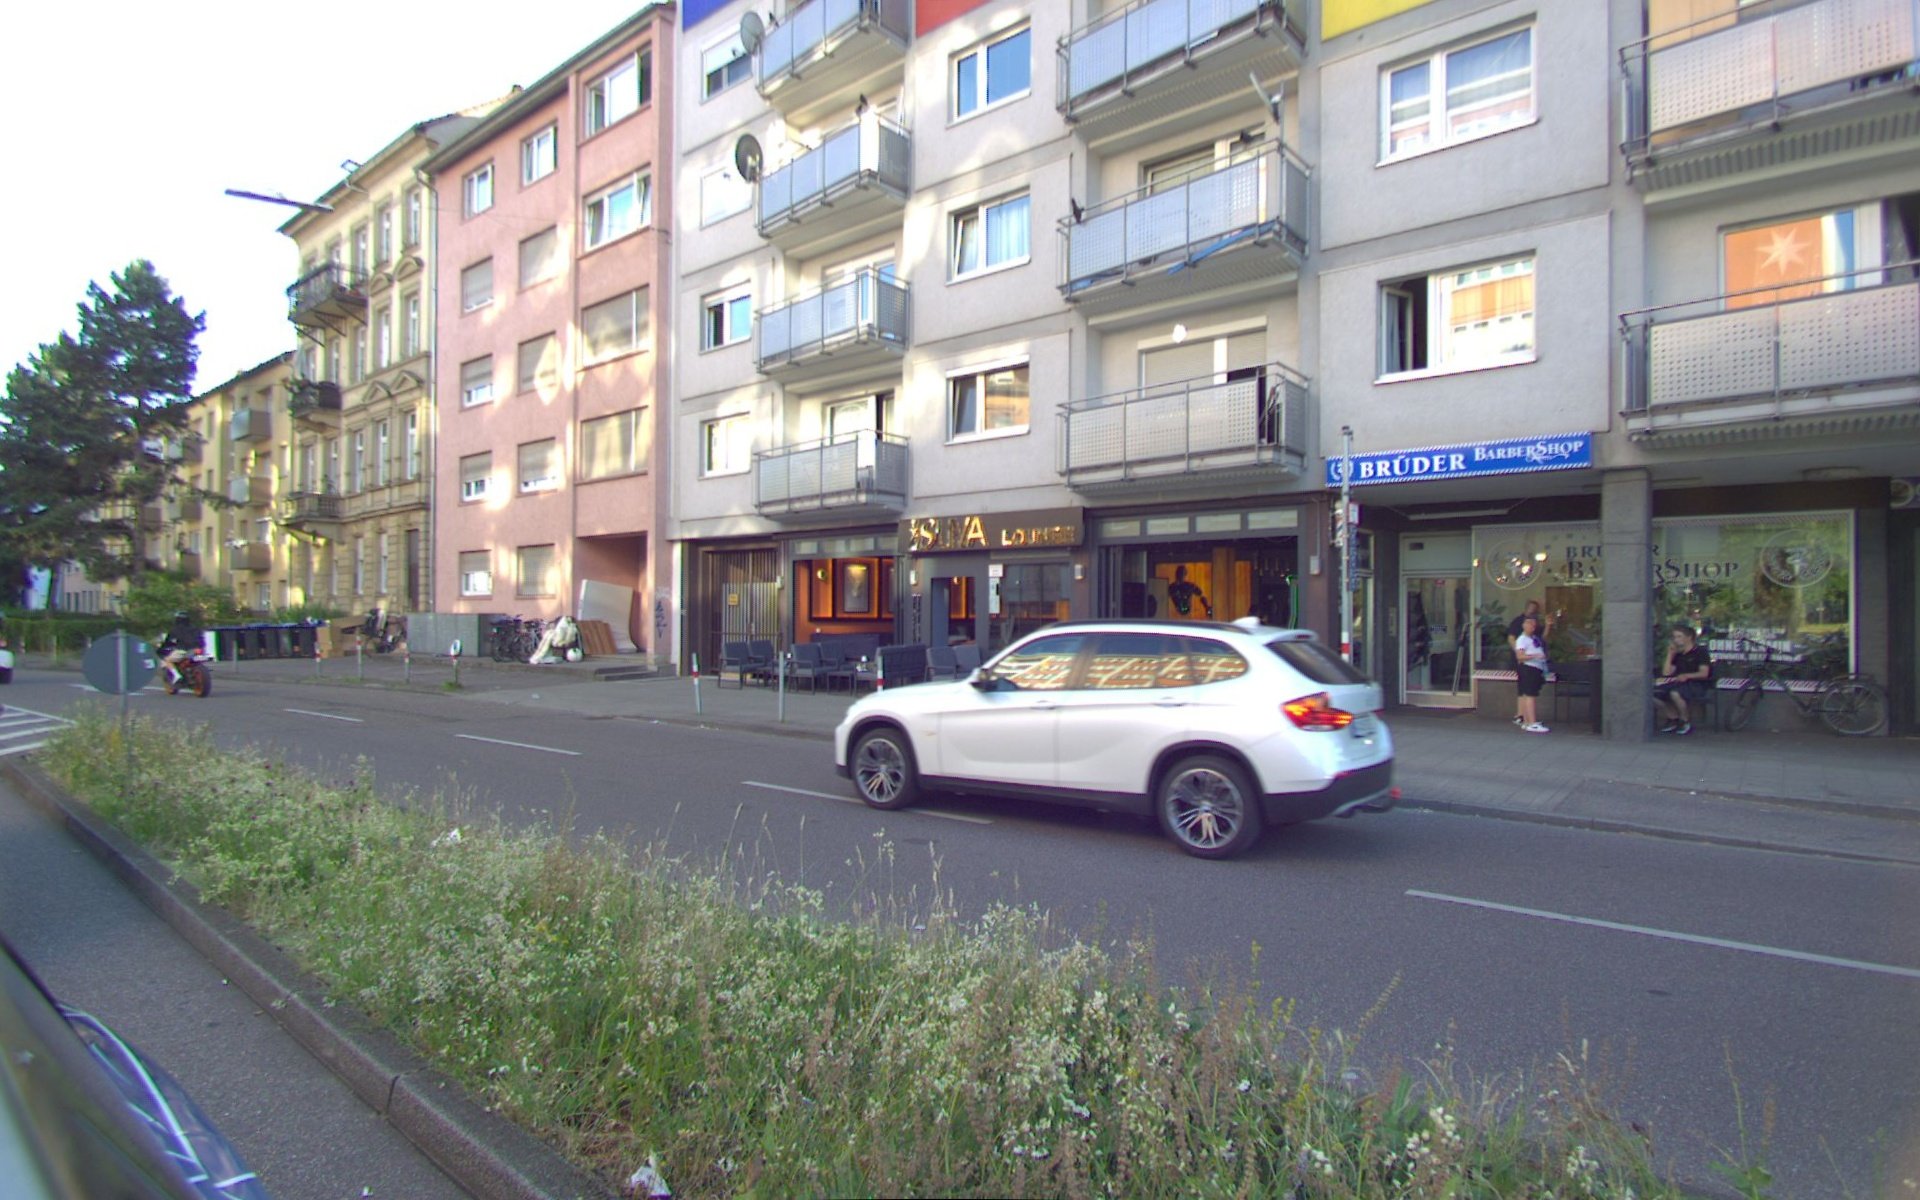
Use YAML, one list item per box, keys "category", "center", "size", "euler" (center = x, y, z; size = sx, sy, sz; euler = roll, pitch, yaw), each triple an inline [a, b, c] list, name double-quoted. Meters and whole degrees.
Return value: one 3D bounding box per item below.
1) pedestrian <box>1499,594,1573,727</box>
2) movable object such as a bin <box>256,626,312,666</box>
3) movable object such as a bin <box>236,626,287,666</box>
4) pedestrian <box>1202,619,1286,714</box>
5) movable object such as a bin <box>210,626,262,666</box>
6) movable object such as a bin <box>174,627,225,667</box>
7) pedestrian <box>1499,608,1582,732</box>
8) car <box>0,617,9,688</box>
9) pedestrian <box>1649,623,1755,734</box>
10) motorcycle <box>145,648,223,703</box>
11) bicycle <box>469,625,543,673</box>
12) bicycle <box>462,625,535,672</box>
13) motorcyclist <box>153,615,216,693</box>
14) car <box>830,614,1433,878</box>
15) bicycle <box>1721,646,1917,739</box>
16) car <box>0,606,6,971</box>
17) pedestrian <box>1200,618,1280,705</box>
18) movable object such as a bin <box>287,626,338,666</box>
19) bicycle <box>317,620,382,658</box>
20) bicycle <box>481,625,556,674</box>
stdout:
- category: "pedestrian"
  center: [7.517, 0.778, 13.237]
  size: [0.652, 1.685, 0.623]
  euler: [0, -1, 12]
- category: "movable object such as a bin"
  center: [-21.622, 1.458, 32.411]
  size: [0.916, 1.242, 1.292]
  euler: [0, -1, 0]
- category: "movable object such as a bin"
  center: [-22.550, 1.472, 32.696]
  size: [0.837, 1.242, 1.193]
  euler: [0, -1, 0]
- category: "pedestrian"
  center: [4.249, 0.971, 15.132]
  size: [0.882, 1.357, 0.961]
  euler: [-1, -2, 40]
- category: "movable object such as a bin"
  center: [-23.419, 1.483, 32.754]
  size: [0.837, 1.242, 1.193]
  euler: [0, -1, 0]
- category: "movable object such as a bin"
  center: [-24.343, 1.495, 32.421]
  size: [0.836, 1.242, 1.195]
  euler: [0, -1, -8]
- category: "pedestrian"
  center: [7.133, 0.844, 12.460]
  size: [0.650, 1.478, 0.625]
  euler: [0, -1, 5]
- category: "car"
  center: [-23.026, 1.157, 22.844]
  size: [3.397, 1.554, 1.578]
  euler: [-1, -3, 35]
- category: "pedestrian"
  center: [9.065, 0.938, 12.388]
  size: [0.798, 1.323, 0.626]
  euler: [0, -1, -3]
- category: "motorcycle"
  center: [-14.998, 1.431, 19.548]
  size: [2.046, 0.970, 0.741]
  euler: [-1, -2, 40]
- category: "bicycle"
  center: [-11.905, 1.265, 26.589]
  size: [0.473, 1.200, 1.758]
  euler: [-1, -2, 38]
- category: "bicycle"
  center: [-12.294, 1.269, 27.026]
  size: [0.473, 1.200, 1.758]
  euler: [-1, -2, 38]
- category: "motorcyclist"
  center: [-14.989, 1.032, 19.556]
  size: [0.957, 1.452, 0.741]
  euler: [-1, -3, 39]
- category: "car"
  center: [1.145, 0.900, 7.753]
  size: [4.240, 1.499, 1.736]
  euler: [-1, -3, 37]
- category: "bicycle"
  center: [10.244, 1.076, 12.150]
  size: [1.691, 1.006, 0.620]
  euler: [0, -1, 32]
- category: "car"
  center: [-6.043, 0.804, 4.844]
  size: [4.267, 1.470, 1.748]
  euler: [-1, 0, 41]
- category: "pedestrian"
  center: [4.550, 0.966, 16.445]
  size: [0.974, 1.357, 0.871]
  euler: [-1, -2, 40]
- category: "movable object such as a bin"
  center: [-20.694, 1.448, 32.362]
  size: [0.837, 1.242, 1.193]
  euler: [0, -1, 0]
- category: "bicycle"
  center: [-19.745, 1.256, 32.749]
  size: [0.473, 1.200, 1.758]
  euler: [-1, -2, 38]
- category: "bicycle"
  center: [-11.363, 1.251, 26.095]
  size: [0.473, 1.200, 1.758]
  euler: [-1, -2, 38]
